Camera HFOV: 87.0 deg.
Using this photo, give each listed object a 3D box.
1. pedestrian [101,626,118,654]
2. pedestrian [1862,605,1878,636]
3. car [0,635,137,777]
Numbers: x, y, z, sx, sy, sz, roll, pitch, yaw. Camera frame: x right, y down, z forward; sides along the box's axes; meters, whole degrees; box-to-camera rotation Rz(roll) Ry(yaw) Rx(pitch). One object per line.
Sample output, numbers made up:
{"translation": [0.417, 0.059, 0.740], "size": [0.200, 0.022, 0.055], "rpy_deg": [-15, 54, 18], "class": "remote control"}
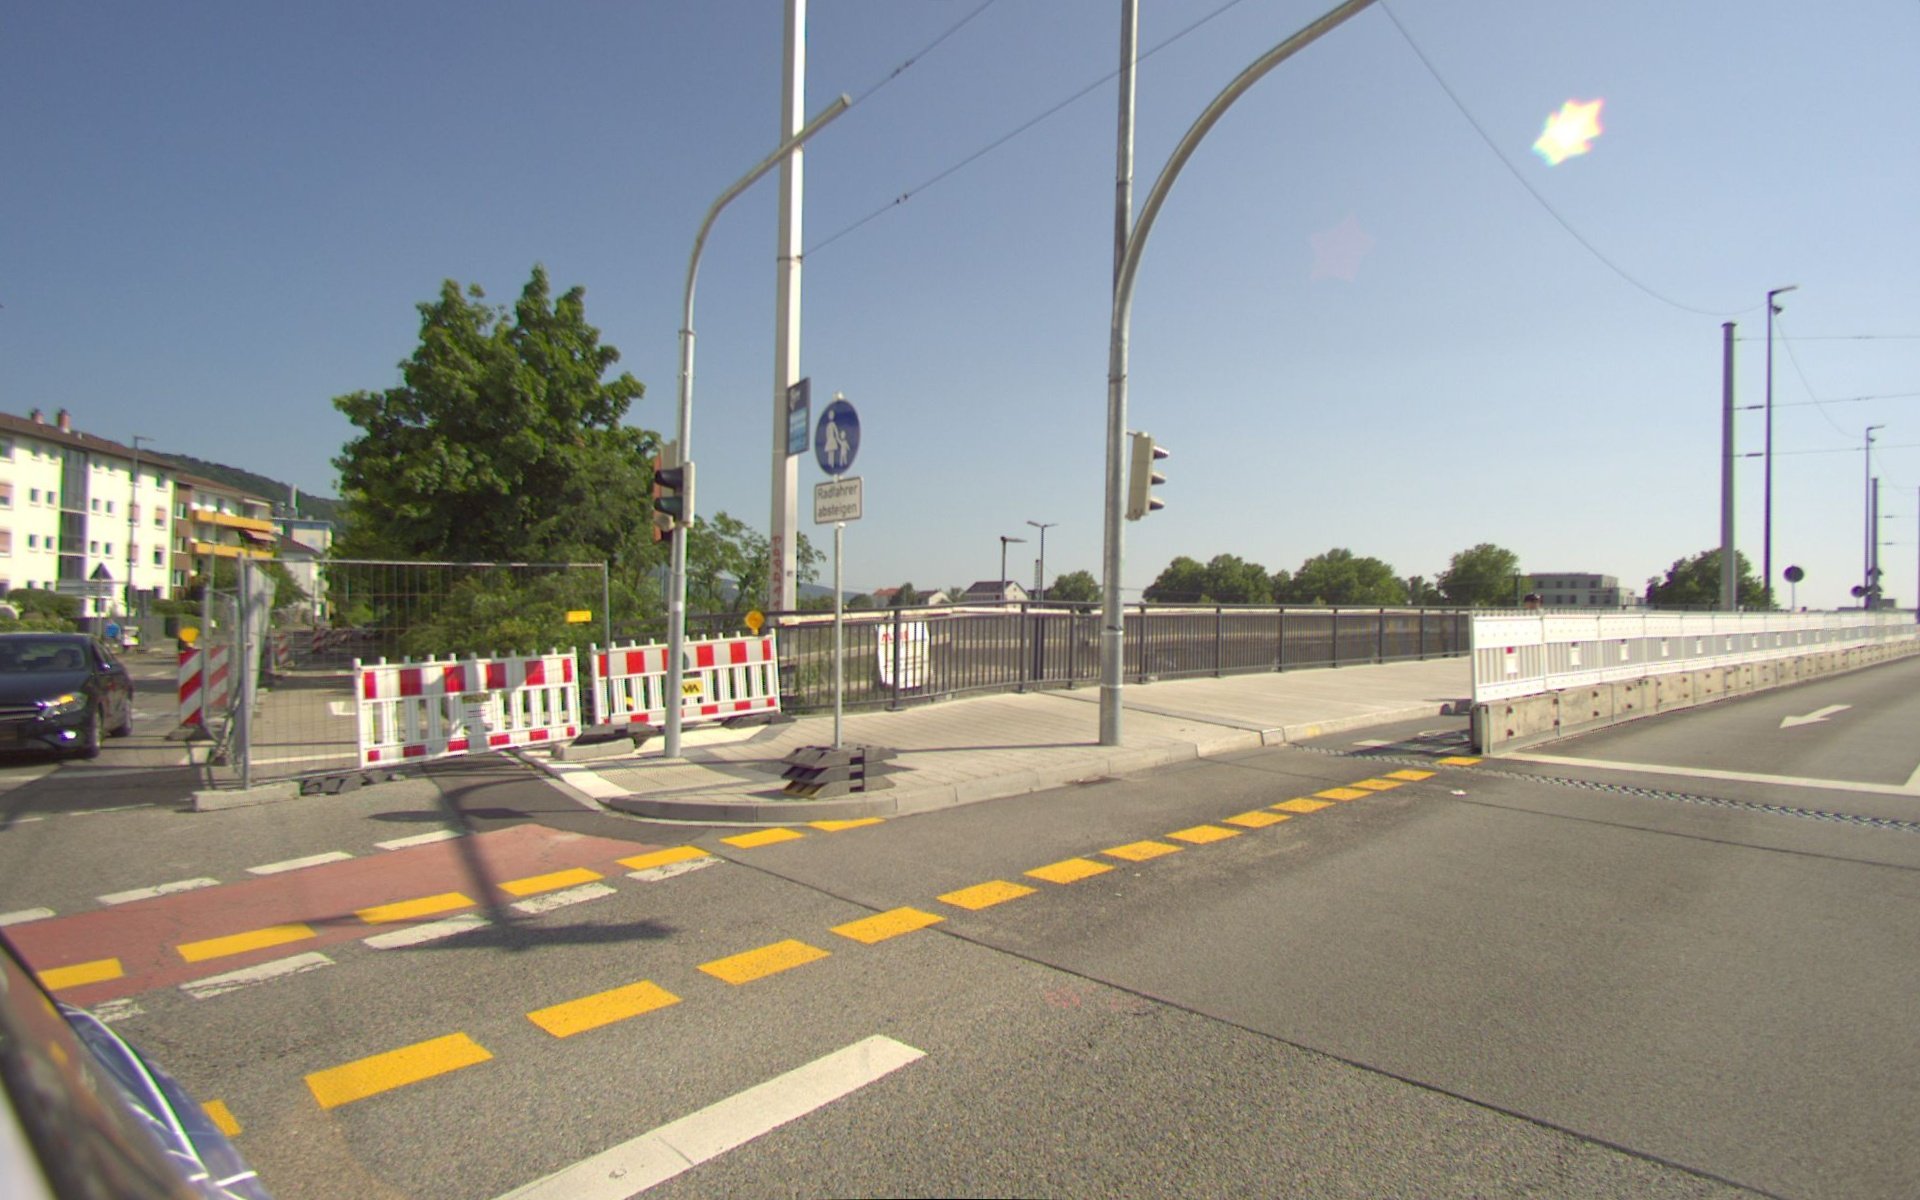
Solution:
{"translation": [-47.831, 2.247, 56.928], "size": [0.598, 1.520, 0.773], "rpy_deg": [1, -1, -29], "class": "pedestrian"}
{"translation": [57.125, 1.299, 63.539], "size": [0.741, 1.908, 0.637], "rpy_deg": [1, 0, -43], "class": "pedestrian"}
{"translation": [-11.247, 1.144, 12.109], "size": [1.675, 1.419, 4.635], "rpy_deg": [1, -2, -33], "class": "car"}
